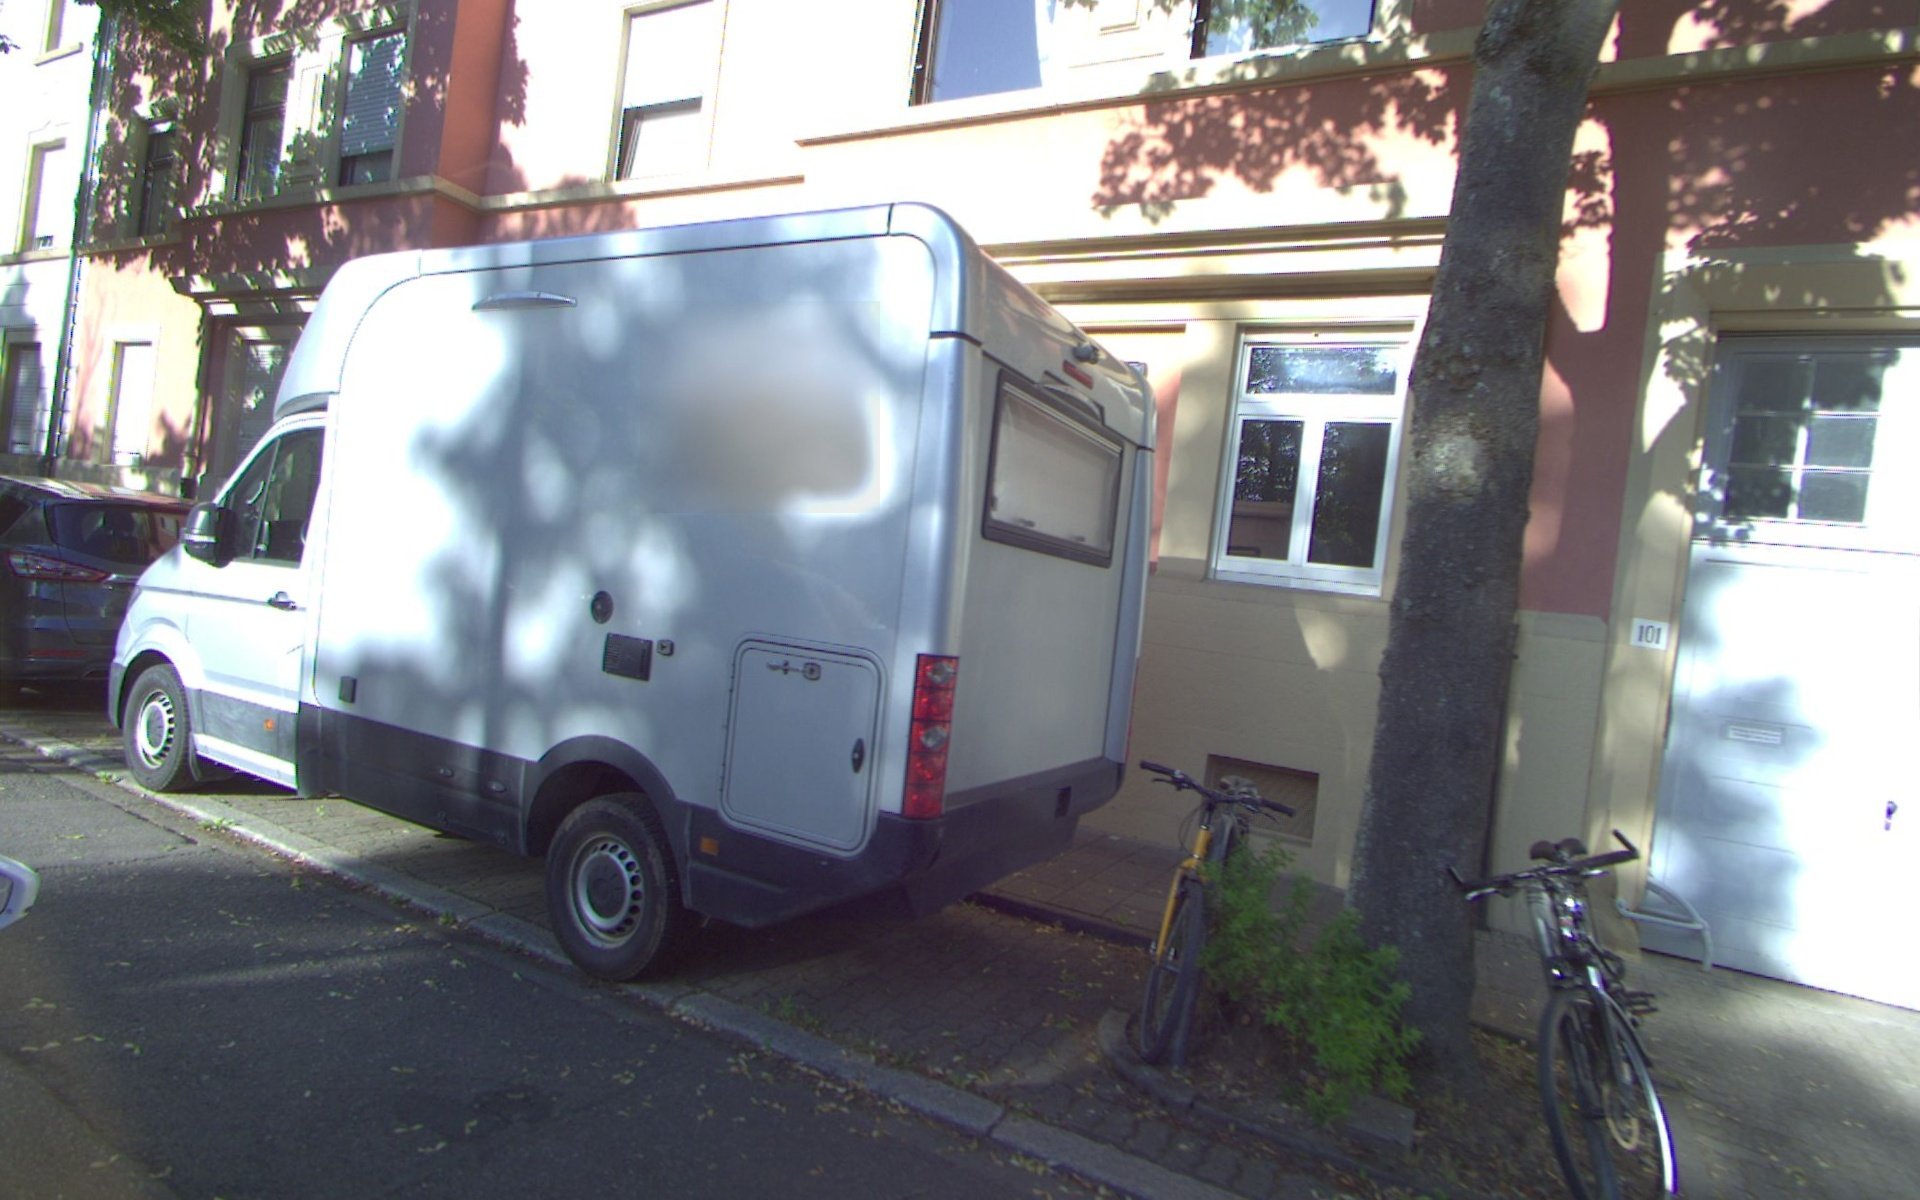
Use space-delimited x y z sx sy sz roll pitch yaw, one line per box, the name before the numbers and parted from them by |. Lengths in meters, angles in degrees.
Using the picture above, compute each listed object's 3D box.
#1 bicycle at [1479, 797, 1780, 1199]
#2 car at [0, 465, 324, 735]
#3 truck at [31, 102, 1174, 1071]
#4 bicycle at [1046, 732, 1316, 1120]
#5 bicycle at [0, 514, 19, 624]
bicycle | 2.208 1.300 3.477 0.569 0.960 1.788 7 0 30
car | -7.824 -0.206 8.433 4.857 1.737 1.889 7 0 27
truck | -2.230 -0.320 5.413 6.002 3.009 2.076 7 3 27
bicycle | 0.987 1.151 4.096 0.693 1.012 1.708 7 0 22
bicycle | -11.069 -0.383 10.418 0.559 1.182 1.813 7 2 27
